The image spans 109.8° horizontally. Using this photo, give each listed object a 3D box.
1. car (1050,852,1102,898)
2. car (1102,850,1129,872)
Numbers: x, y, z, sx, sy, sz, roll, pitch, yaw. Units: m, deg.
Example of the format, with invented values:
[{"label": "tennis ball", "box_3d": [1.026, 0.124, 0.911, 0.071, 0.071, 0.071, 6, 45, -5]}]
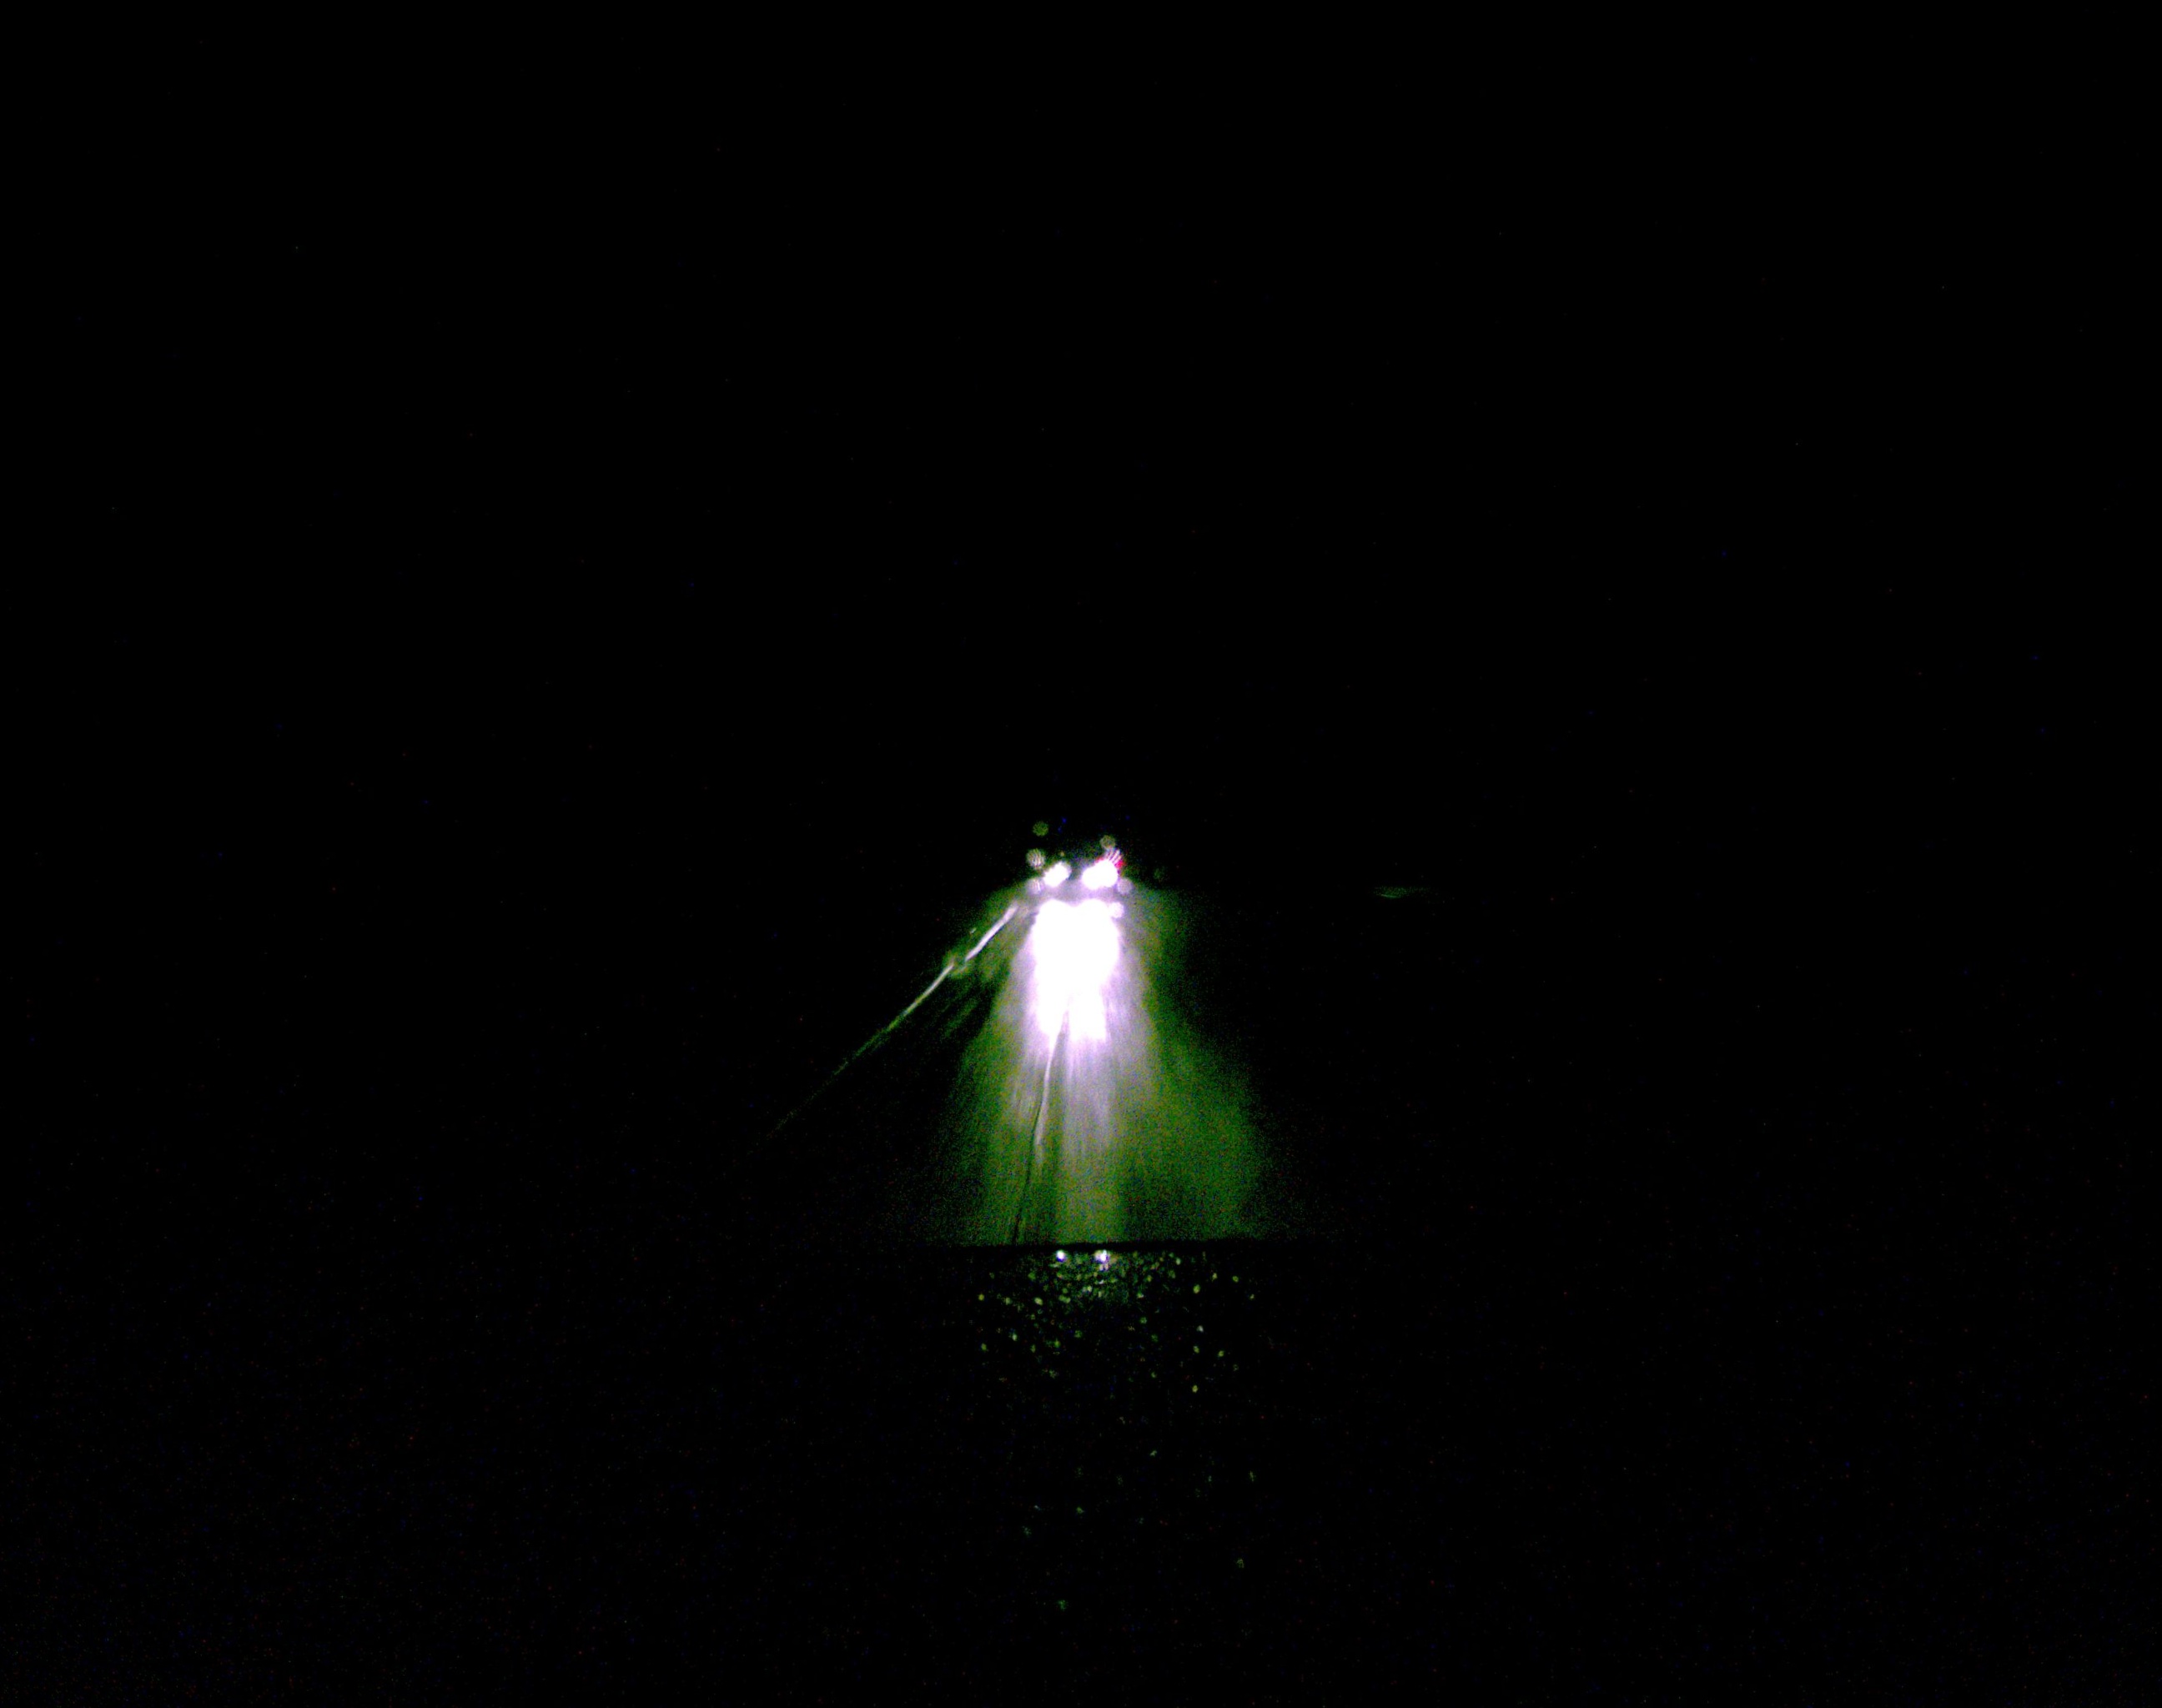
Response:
[{"label": "car", "box_3d": [-0.260, 0.775, 30.384, 1.863, 1.601, 4.419, -3, 0, -2]}, {"label": "car", "box_3d": [2.648, 0.519, 59.652, 1.894, 1.628, 4.155, 0, 1, -1]}]
